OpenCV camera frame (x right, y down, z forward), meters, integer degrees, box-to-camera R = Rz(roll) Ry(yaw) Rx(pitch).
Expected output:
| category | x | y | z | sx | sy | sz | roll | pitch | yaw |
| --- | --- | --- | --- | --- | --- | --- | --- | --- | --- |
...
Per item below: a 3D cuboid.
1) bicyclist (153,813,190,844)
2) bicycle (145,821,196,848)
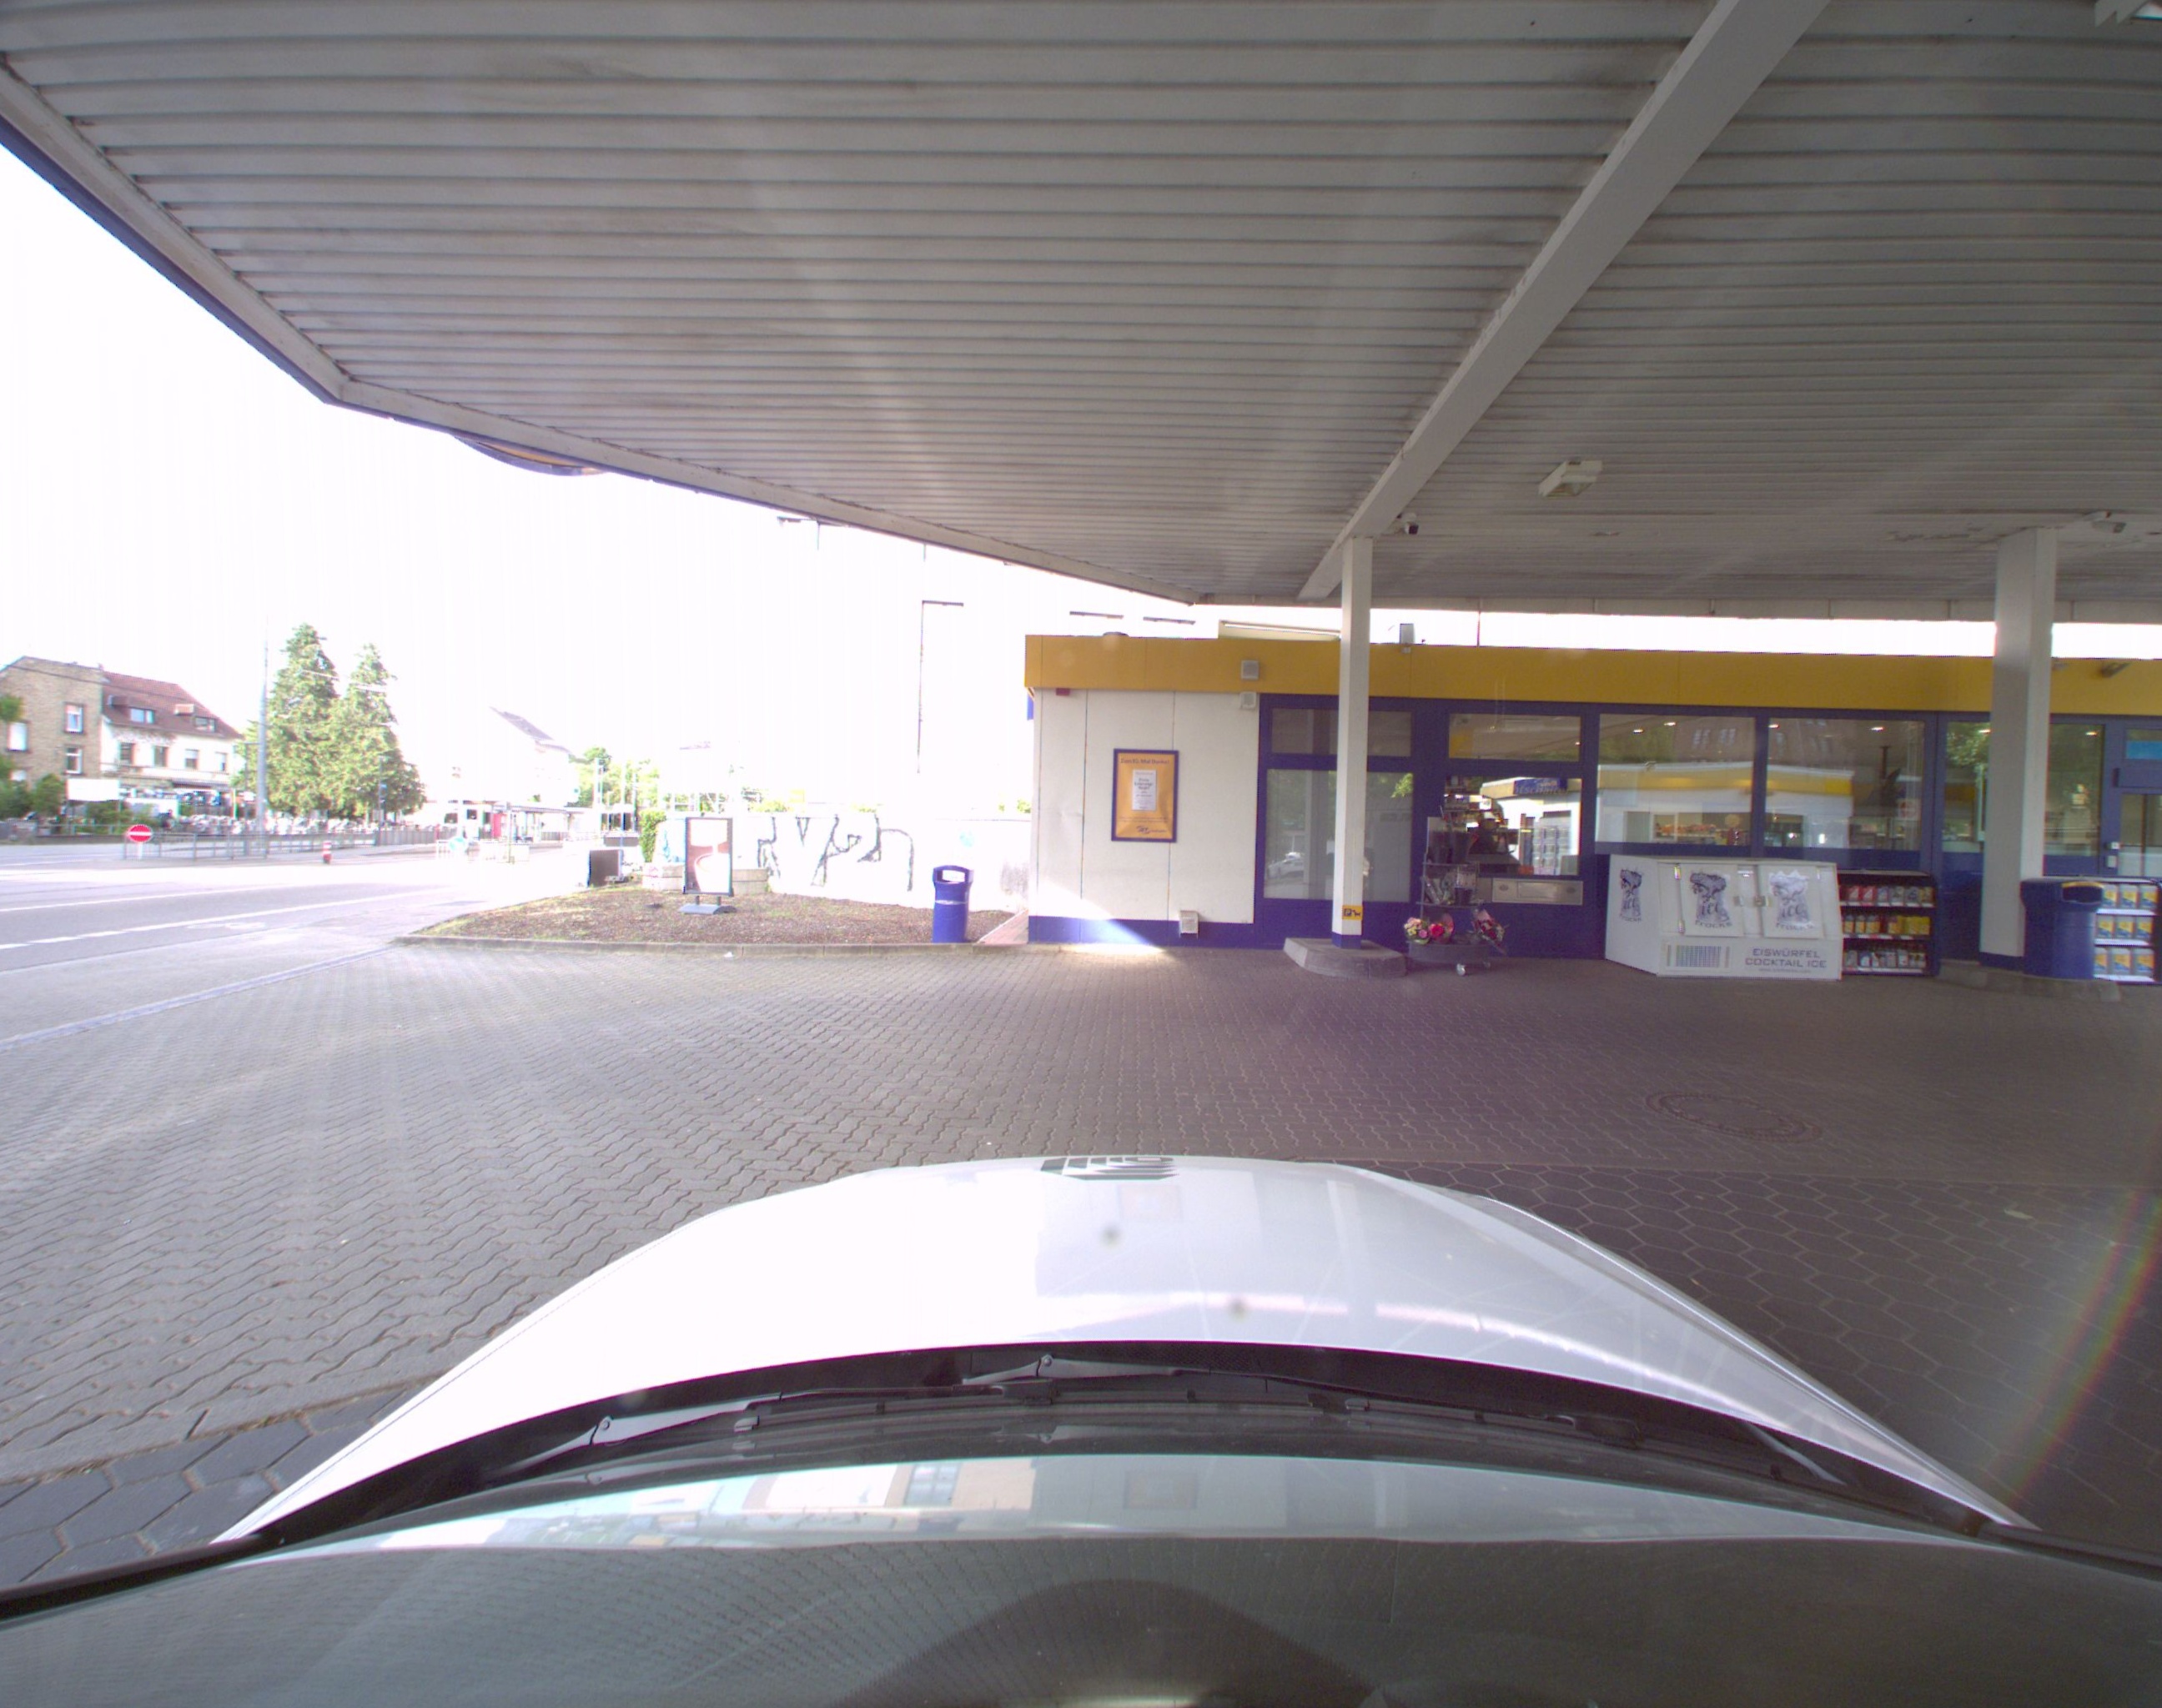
| category | x | y | z | sx | sy | sz | roll | pitch | yaw |
| --- | --- | --- | --- | --- | --- | --- | --- | --- | --- |
| bicyclist | -43.675 | -1.236 | 39.128 | 0.752 | 1.409 | 0.915 | 5 | 0 | -19 |
| bicycle | -43.674 | -0.924 | 39.085 | 0.752 | 1.203 | 1.810 | 5 | 0 | -19 |
